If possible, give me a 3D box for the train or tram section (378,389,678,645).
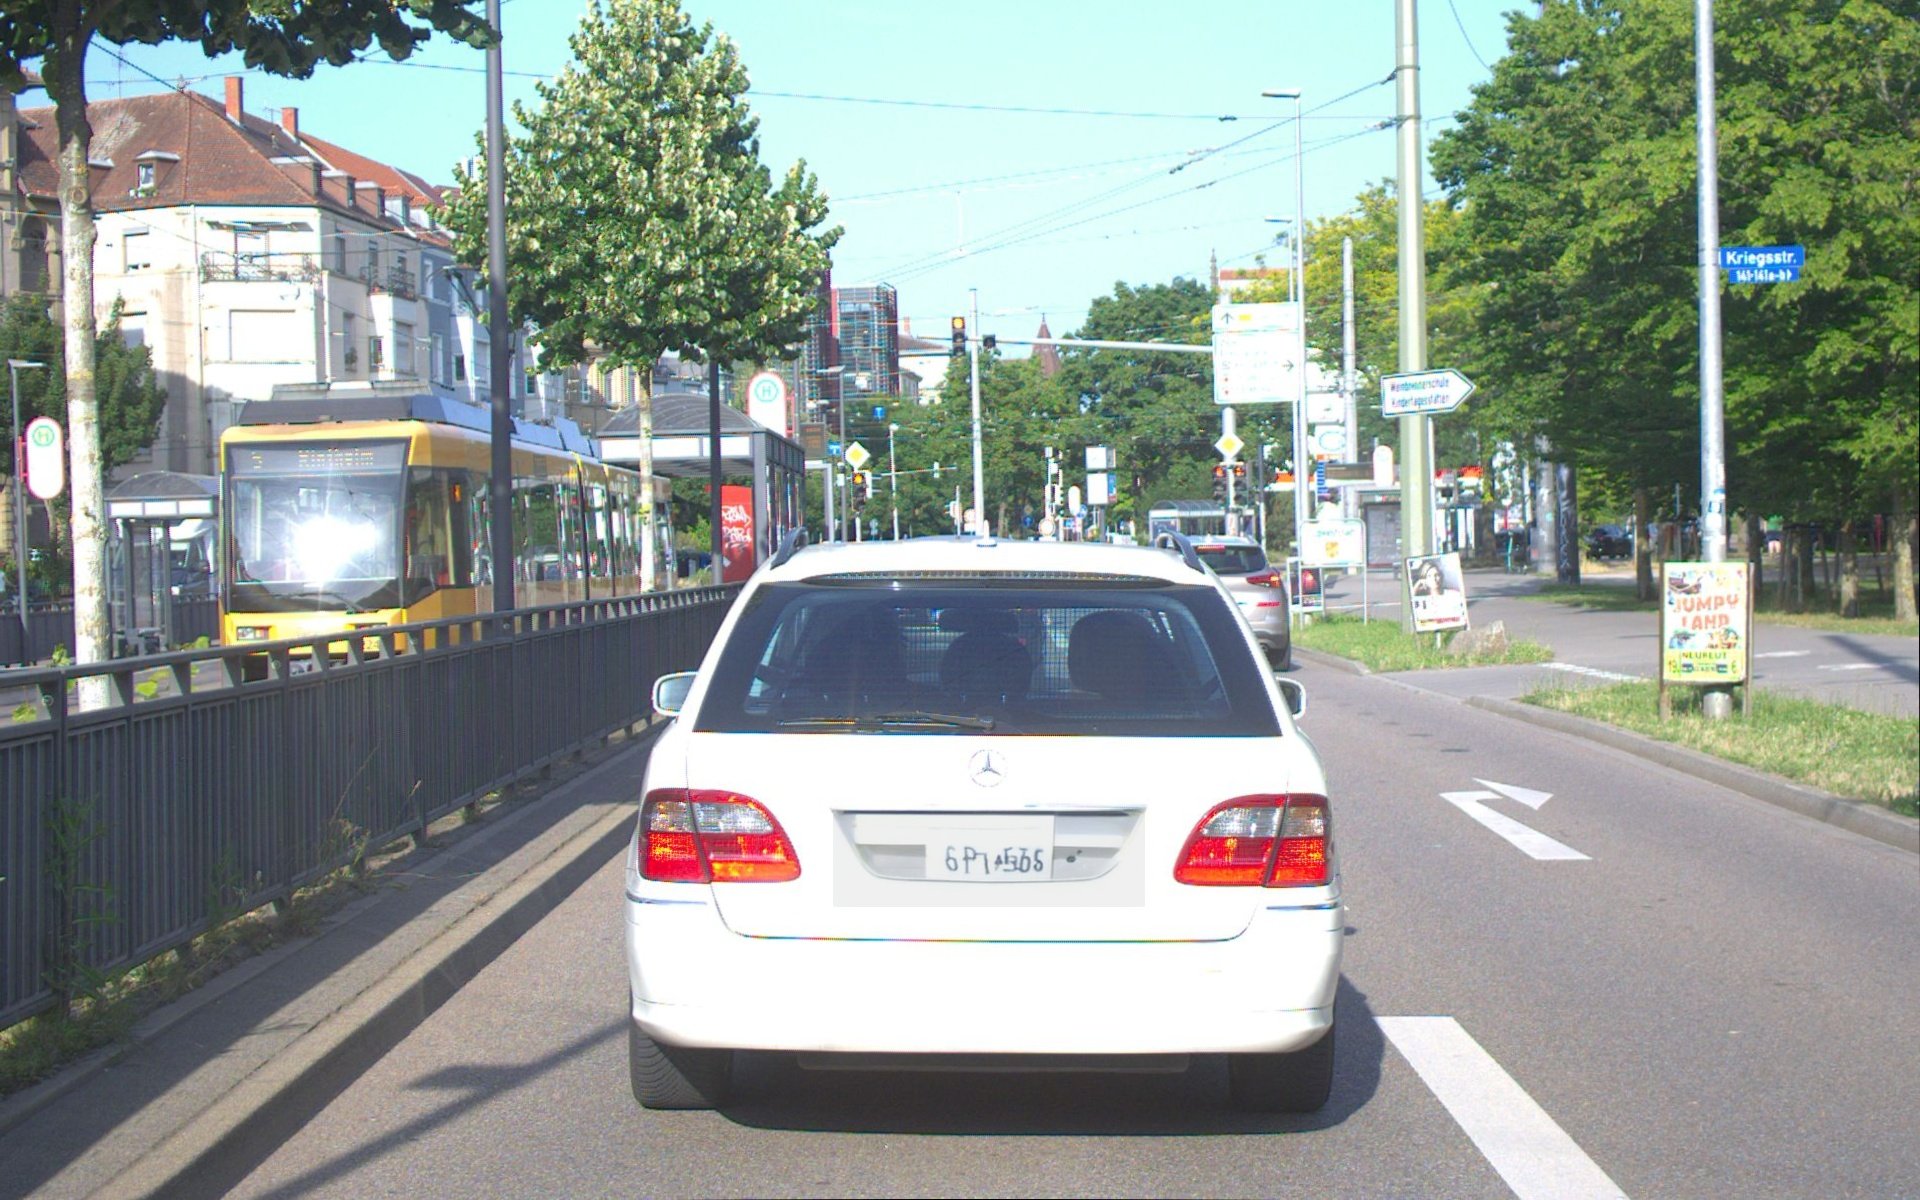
[{"bbox_3d":[-6.455,-1.284,53.677,2.849,3.467,13.200,-1,1,1],"label":"train or tram section"}]

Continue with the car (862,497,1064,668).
[{"bbox_3d":[0.085,-0.222,36.187,1.787,1.684,4.000,-1,1,5],"label":"car"}]

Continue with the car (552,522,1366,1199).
[{"bbox_3d":[0.070,0.598,9.622,1.758,1.498,4.000,-2,0,2],"label":"car"}]

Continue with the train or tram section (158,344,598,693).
[{"bbox_3d":[-6.489,-0.978,40.824,2.849,3.467,13.200,0,1,1],"label":"train or tram section"}]

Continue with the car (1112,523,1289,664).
[{"bbox_3d":[2.934,-0.115,41.719,2.033,1.600,4.000,-1,1,5],"label":"car"}]

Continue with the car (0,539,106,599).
[{"bbox_3d":[-26.416,-0.884,96.680,2.206,1.622,4.711,0,1,24],"label":"car"}]

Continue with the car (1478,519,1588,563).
[{"bbox_3d":[23.354,-2.405,140.066,3.992,1.645,1.997,-1,1,26],"label":"car"}]

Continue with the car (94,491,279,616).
[{"bbox_3d":[-17.855,-1.118,79.784,2.596,2.725,7.469,-1,1,0],"label":"car"}]

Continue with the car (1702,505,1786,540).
[{"bbox_3d":[39.441,-3.903,172.932,3.989,1.645,1.999,-1,1,15],"label":"car"}]

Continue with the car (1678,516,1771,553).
[{"bbox_3d":[37.210,-3.180,167.345,3.986,1.645,2.000,-2,1,-26],"label":"car"}]
